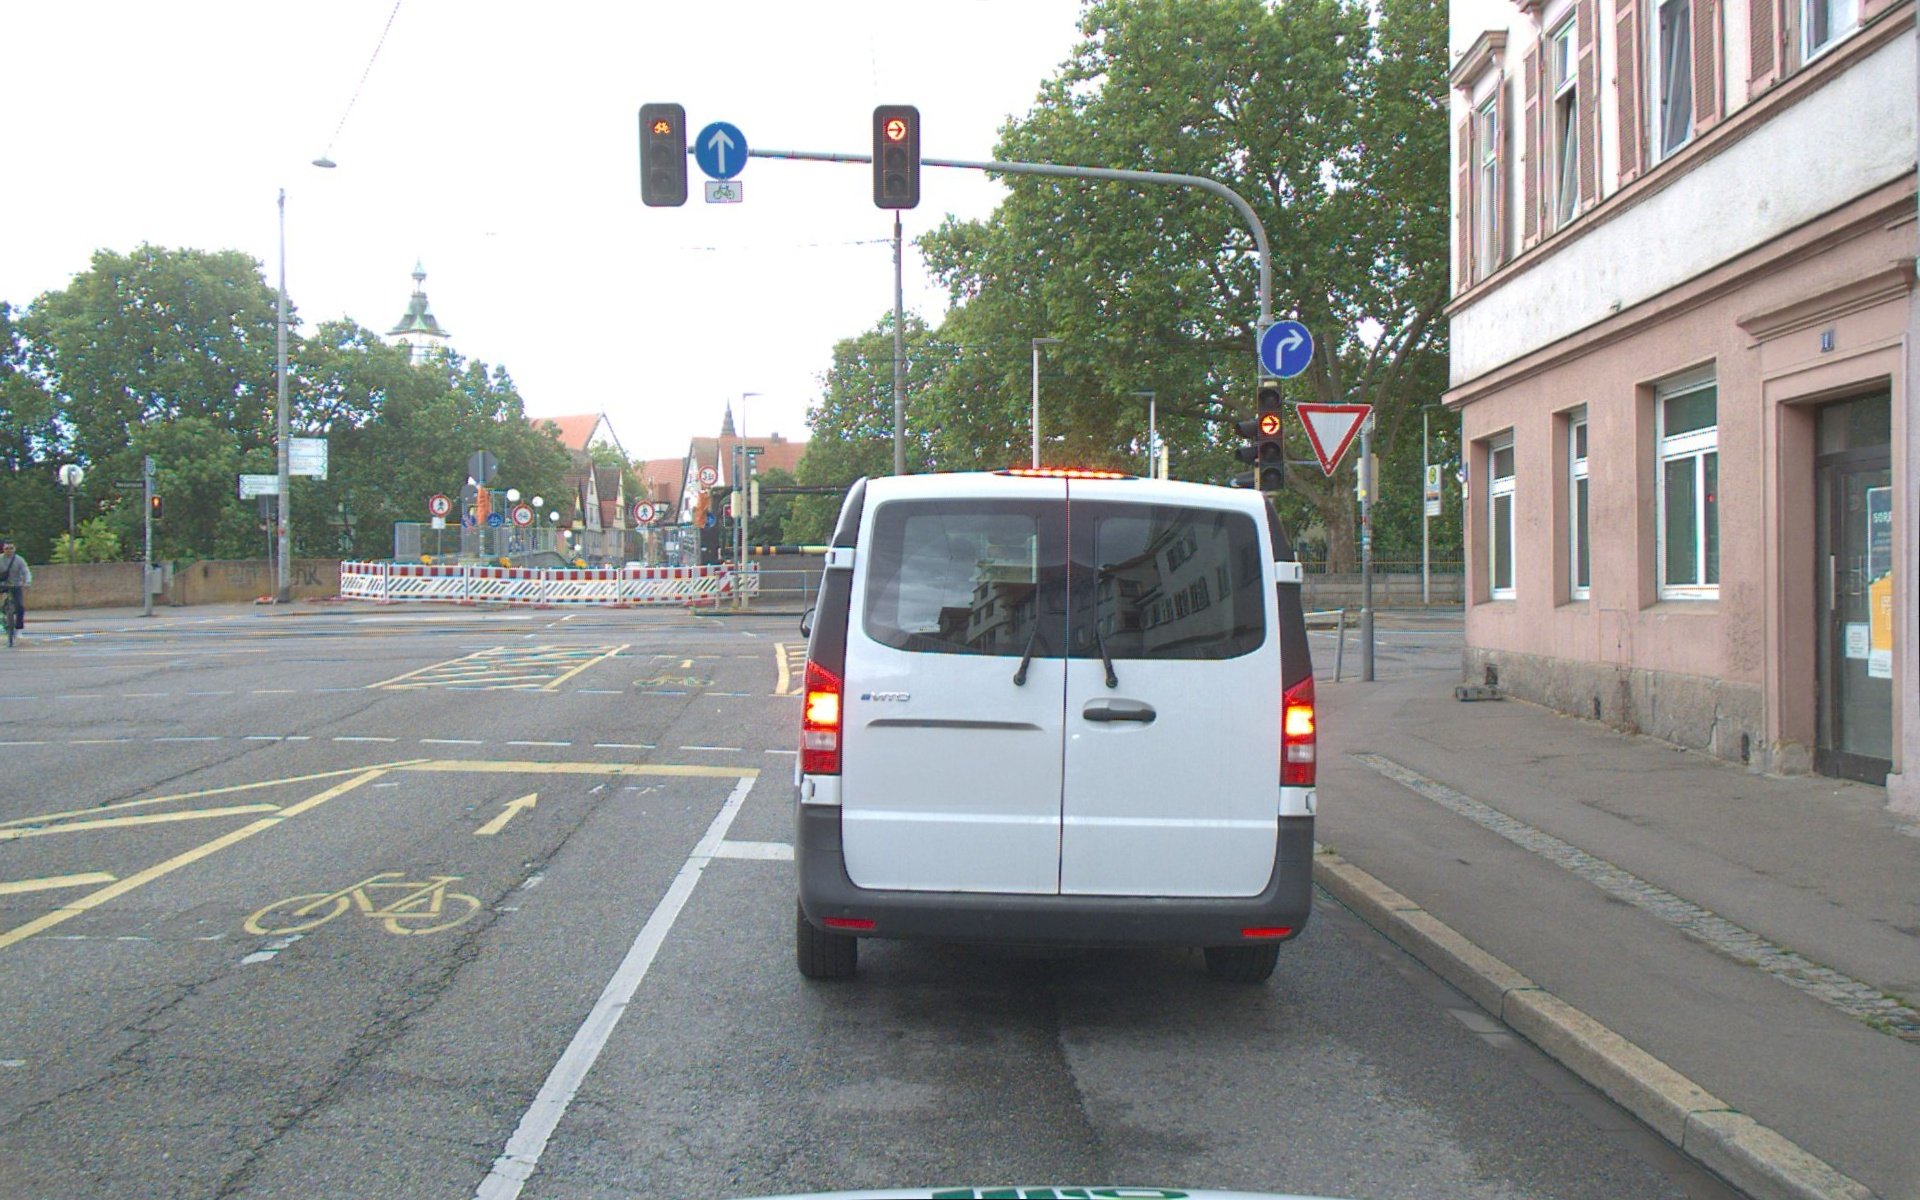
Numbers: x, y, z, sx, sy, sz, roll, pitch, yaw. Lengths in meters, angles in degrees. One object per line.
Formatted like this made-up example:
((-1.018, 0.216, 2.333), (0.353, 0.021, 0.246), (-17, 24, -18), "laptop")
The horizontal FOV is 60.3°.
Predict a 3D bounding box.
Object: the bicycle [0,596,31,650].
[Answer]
((-16.630, 0.396, 29.008), (0.535, 0.908, 1.863), (-1, 1, -28), "bicycle")

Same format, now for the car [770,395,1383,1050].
((0.338, 0.329, 7.587), (1.911, 2.048, 4.698), (1, 2, -1), "car")

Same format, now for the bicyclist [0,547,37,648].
((-16.550, -0.045, 28.886), (0.715, 1.730, 0.803), (-1, 0, -29), "bicyclist")
